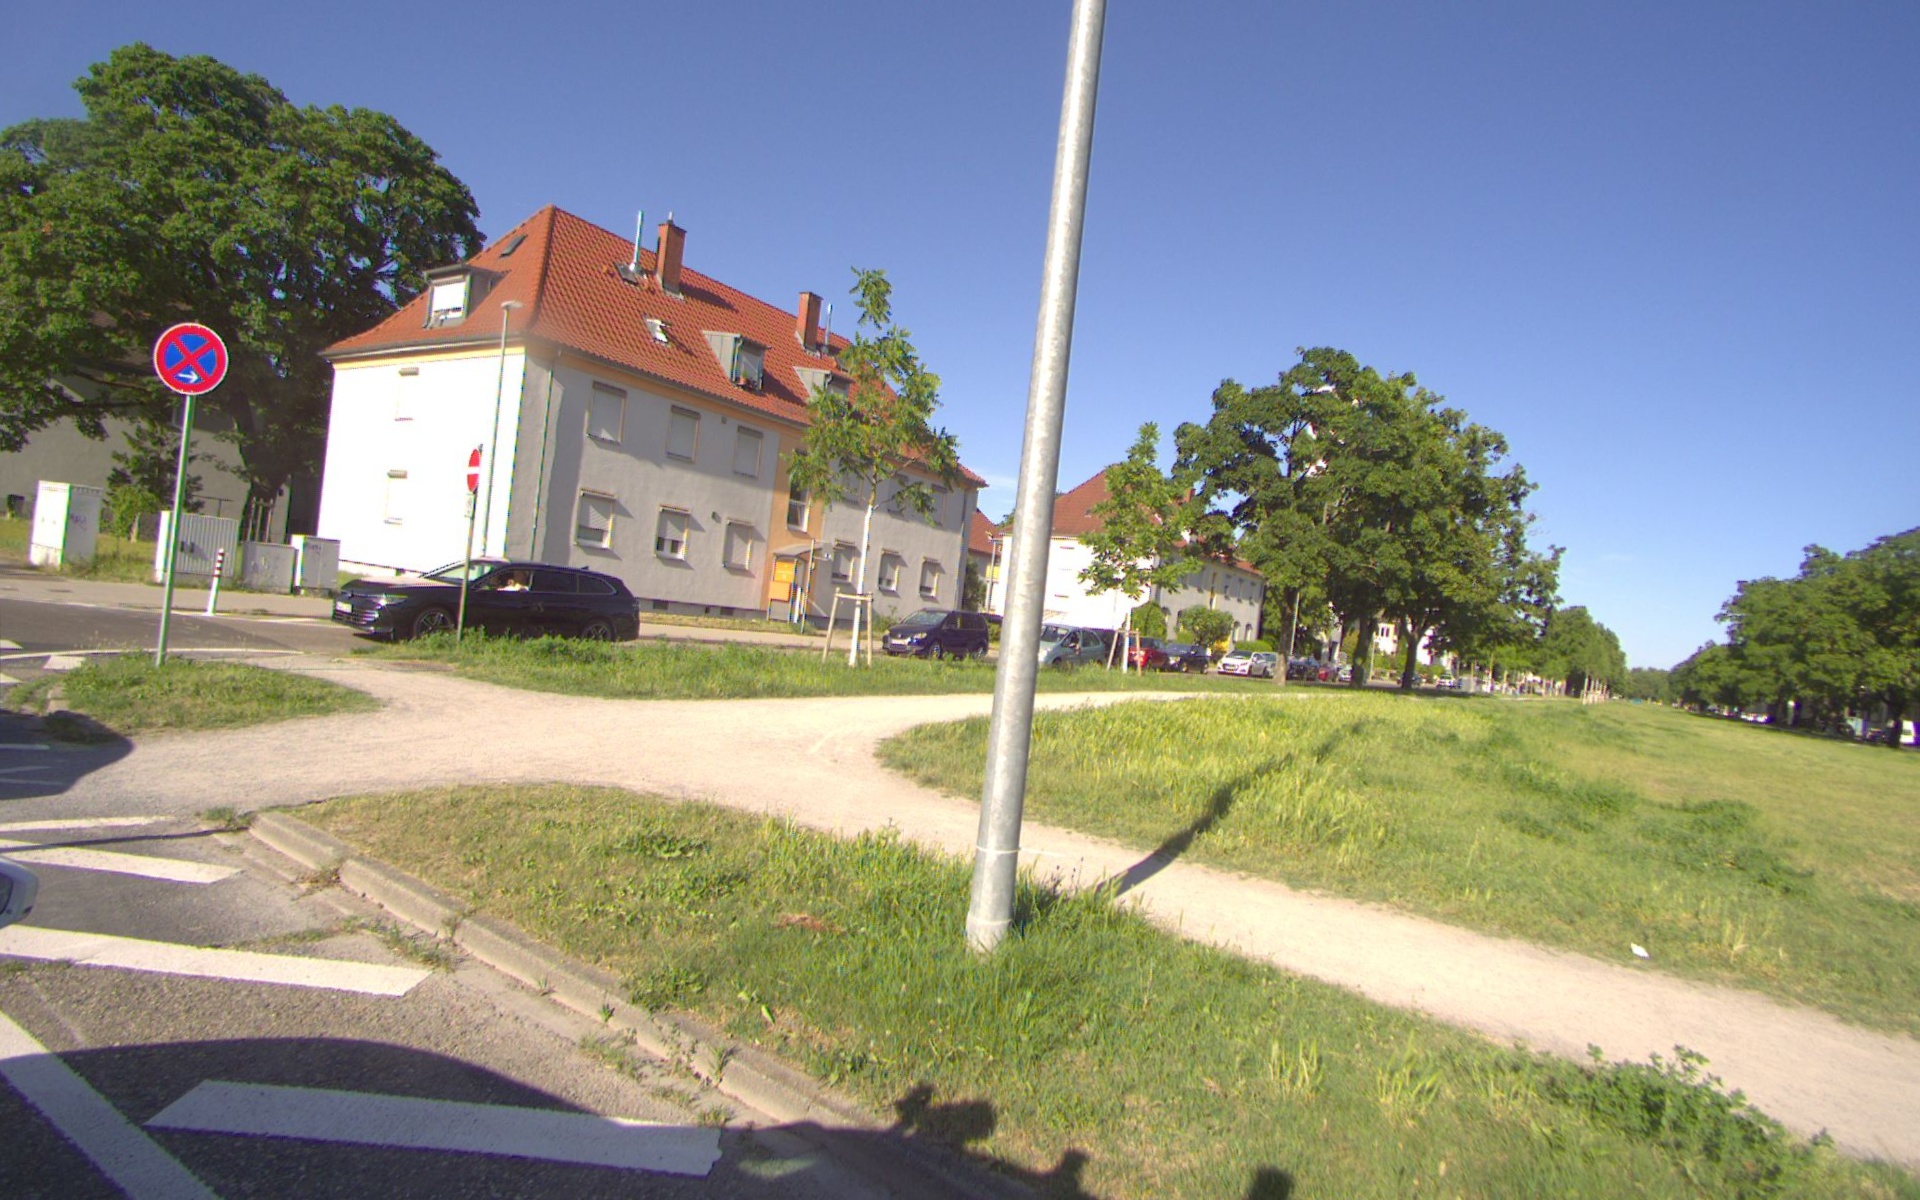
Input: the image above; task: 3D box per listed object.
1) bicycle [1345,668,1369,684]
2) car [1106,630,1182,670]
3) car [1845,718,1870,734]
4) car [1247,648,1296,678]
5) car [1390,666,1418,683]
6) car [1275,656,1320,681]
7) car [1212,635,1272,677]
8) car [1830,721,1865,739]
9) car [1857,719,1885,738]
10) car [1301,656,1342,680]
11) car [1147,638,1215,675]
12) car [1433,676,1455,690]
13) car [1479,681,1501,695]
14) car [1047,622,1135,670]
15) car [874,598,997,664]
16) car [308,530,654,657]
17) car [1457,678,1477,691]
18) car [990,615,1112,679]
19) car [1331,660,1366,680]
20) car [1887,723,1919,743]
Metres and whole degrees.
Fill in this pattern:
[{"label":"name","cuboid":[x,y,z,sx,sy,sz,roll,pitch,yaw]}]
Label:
[{"label":"bicycle","cuboid":[27.635,5.287,70.009,1.036,0.949,2.759,7,0,30]},{"label":"car","cuboid":[8.404,2.294,45.704,1.694,1.459,4.129,7,0,35]},{"label":"car","cuboid":[119.248,16.731,133.728,1.837,1.868,3.982,7,0,36]},{"label":"car","cuboid":[19.120,3.892,61.659,1.694,1.517,3.798,7,0,35]},{"label":"car","cuboid":[43.760,7.317,99.123,1.694,1.358,3.798,7,0,35]},{"label":"car","cuboid":[22.156,4.489,65.929,1.694,1.358,3.798,7,0,35]},{"label":"car","cuboid":[16.080,3.196,57.203,1.842,2.038,4.244,7,0,35]},{"label":"car","cuboid":[93.350,13.666,105.858,2.049,1.484,4.713,7,0,36]},{"label":"car","cuboid":[110.225,15.541,121.742,1.837,1.868,3.982,7,0,36]},{"label":"car","cuboid":[25.672,4.826,71.313,1.694,1.358,3.798,7,0,35]},{"label":"car","cuboid":[10.900,2.806,49.496,1.694,1.459,4.129,7,0,35]},{"label":"car","cuboid":[56.638,9.735,117.736,1.694,1.358,3.798,7,0,35]},{"label":"car","cuboid":[62.182,10.317,118.001,1.694,1.358,3.798,7,0,35]},{"label":"car","cuboid":[5.369,1.908,40.883,1.694,1.602,4.129,7,0,35]},{"label":"car","cuboid":[-0.705,1.018,31.979,1.694,1.684,4.053,7,0,35]},{"label":"car","cuboid":[-7.758,-0.032,16.757,1.970,1.543,4.739,7,0,37]},{"label":"car","cuboid":[65.818,10.981,130.656,1.694,1.358,3.798,7,0,35]},{"label":"car","cuboid":[2.966,1.529,31.851,1.859,1.628,4.235,7,0,35]},{"label":"car","cuboid":[31.049,5.602,80.330,1.694,1.358,3.798,7,0,35]},{"label":"car","cuboid":[103.549,14.601,110.519,1.837,1.868,3.982,7,0,36]}]
